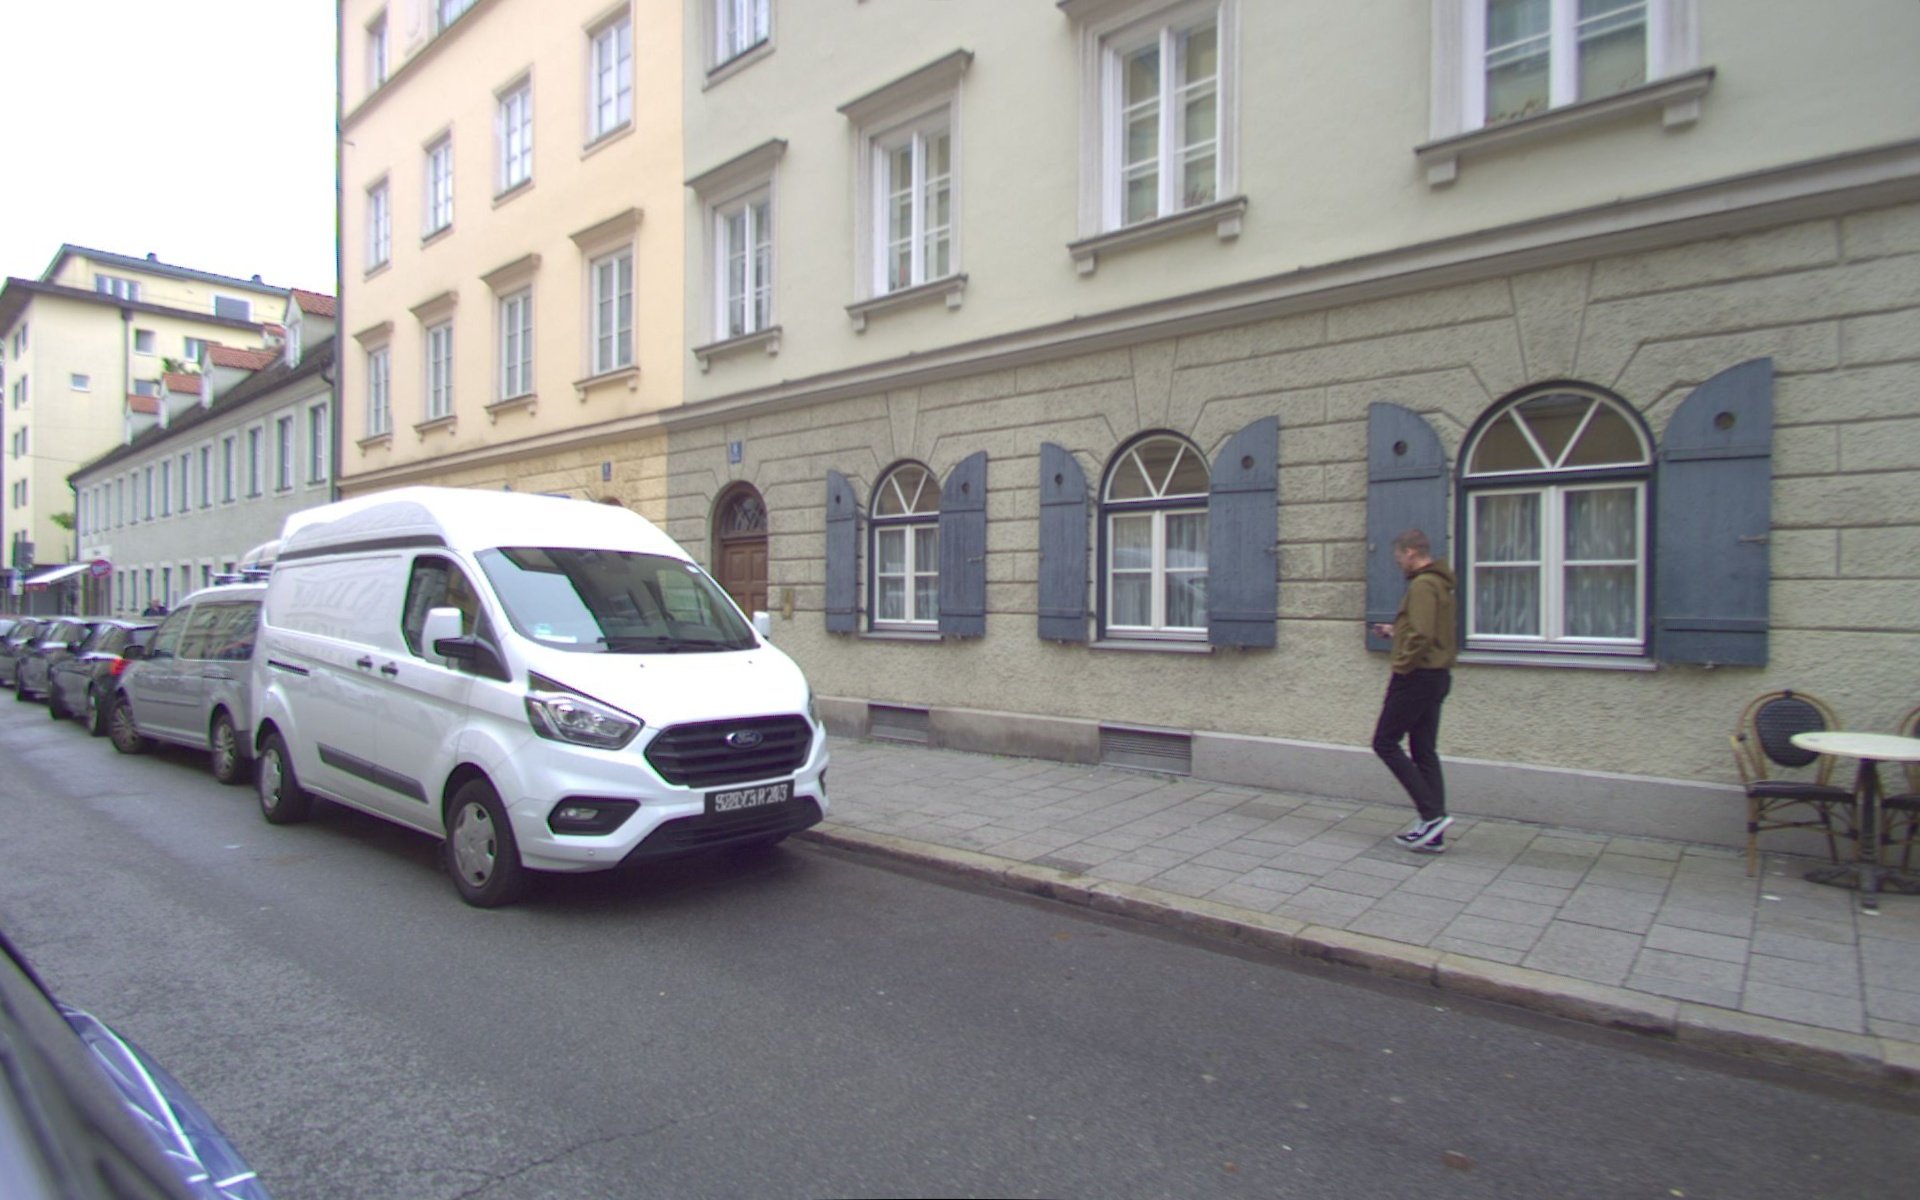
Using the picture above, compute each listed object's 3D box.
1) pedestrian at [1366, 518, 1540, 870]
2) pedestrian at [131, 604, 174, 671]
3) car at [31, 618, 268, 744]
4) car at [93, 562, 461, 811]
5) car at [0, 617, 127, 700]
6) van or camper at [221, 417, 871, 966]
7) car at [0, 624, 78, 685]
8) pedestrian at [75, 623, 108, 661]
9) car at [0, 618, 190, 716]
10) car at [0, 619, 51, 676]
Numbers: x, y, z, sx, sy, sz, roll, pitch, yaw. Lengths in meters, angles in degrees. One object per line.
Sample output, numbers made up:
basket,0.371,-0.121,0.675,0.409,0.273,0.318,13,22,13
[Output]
pedestrian,2.758,0.484,5.663,0.740,1.808,0.586,0,-1,40
pedestrian,-23.536,1.074,29.490,0.827,1.912,0.814,0,-1,40
car,-10.988,0.966,13.629,4.100,1.419,1.737,-1,-1,40
car,-7.069,0.725,10.289,4.618,2.010,1.738,-1,-1,37
car,-18.605,1.105,20.598,4.196,1.507,1.737,-1,-1,39
van or camper,-3.049,0.409,6.633,5.270,2.298,1.736,-1,-1,41
car,-22.993,1.285,24.540,4.682,1.349,1.780,-2,-1,41
pedestrian,-31.131,1.495,36.260,0.693,1.300,0.795,0,-1,41
car,-14.684,1.055,16.980,4.125,1.452,1.799,-1,-2,38
car,-26.804,1.302,28.112,3.709,1.486,1.738,-1,0,38
